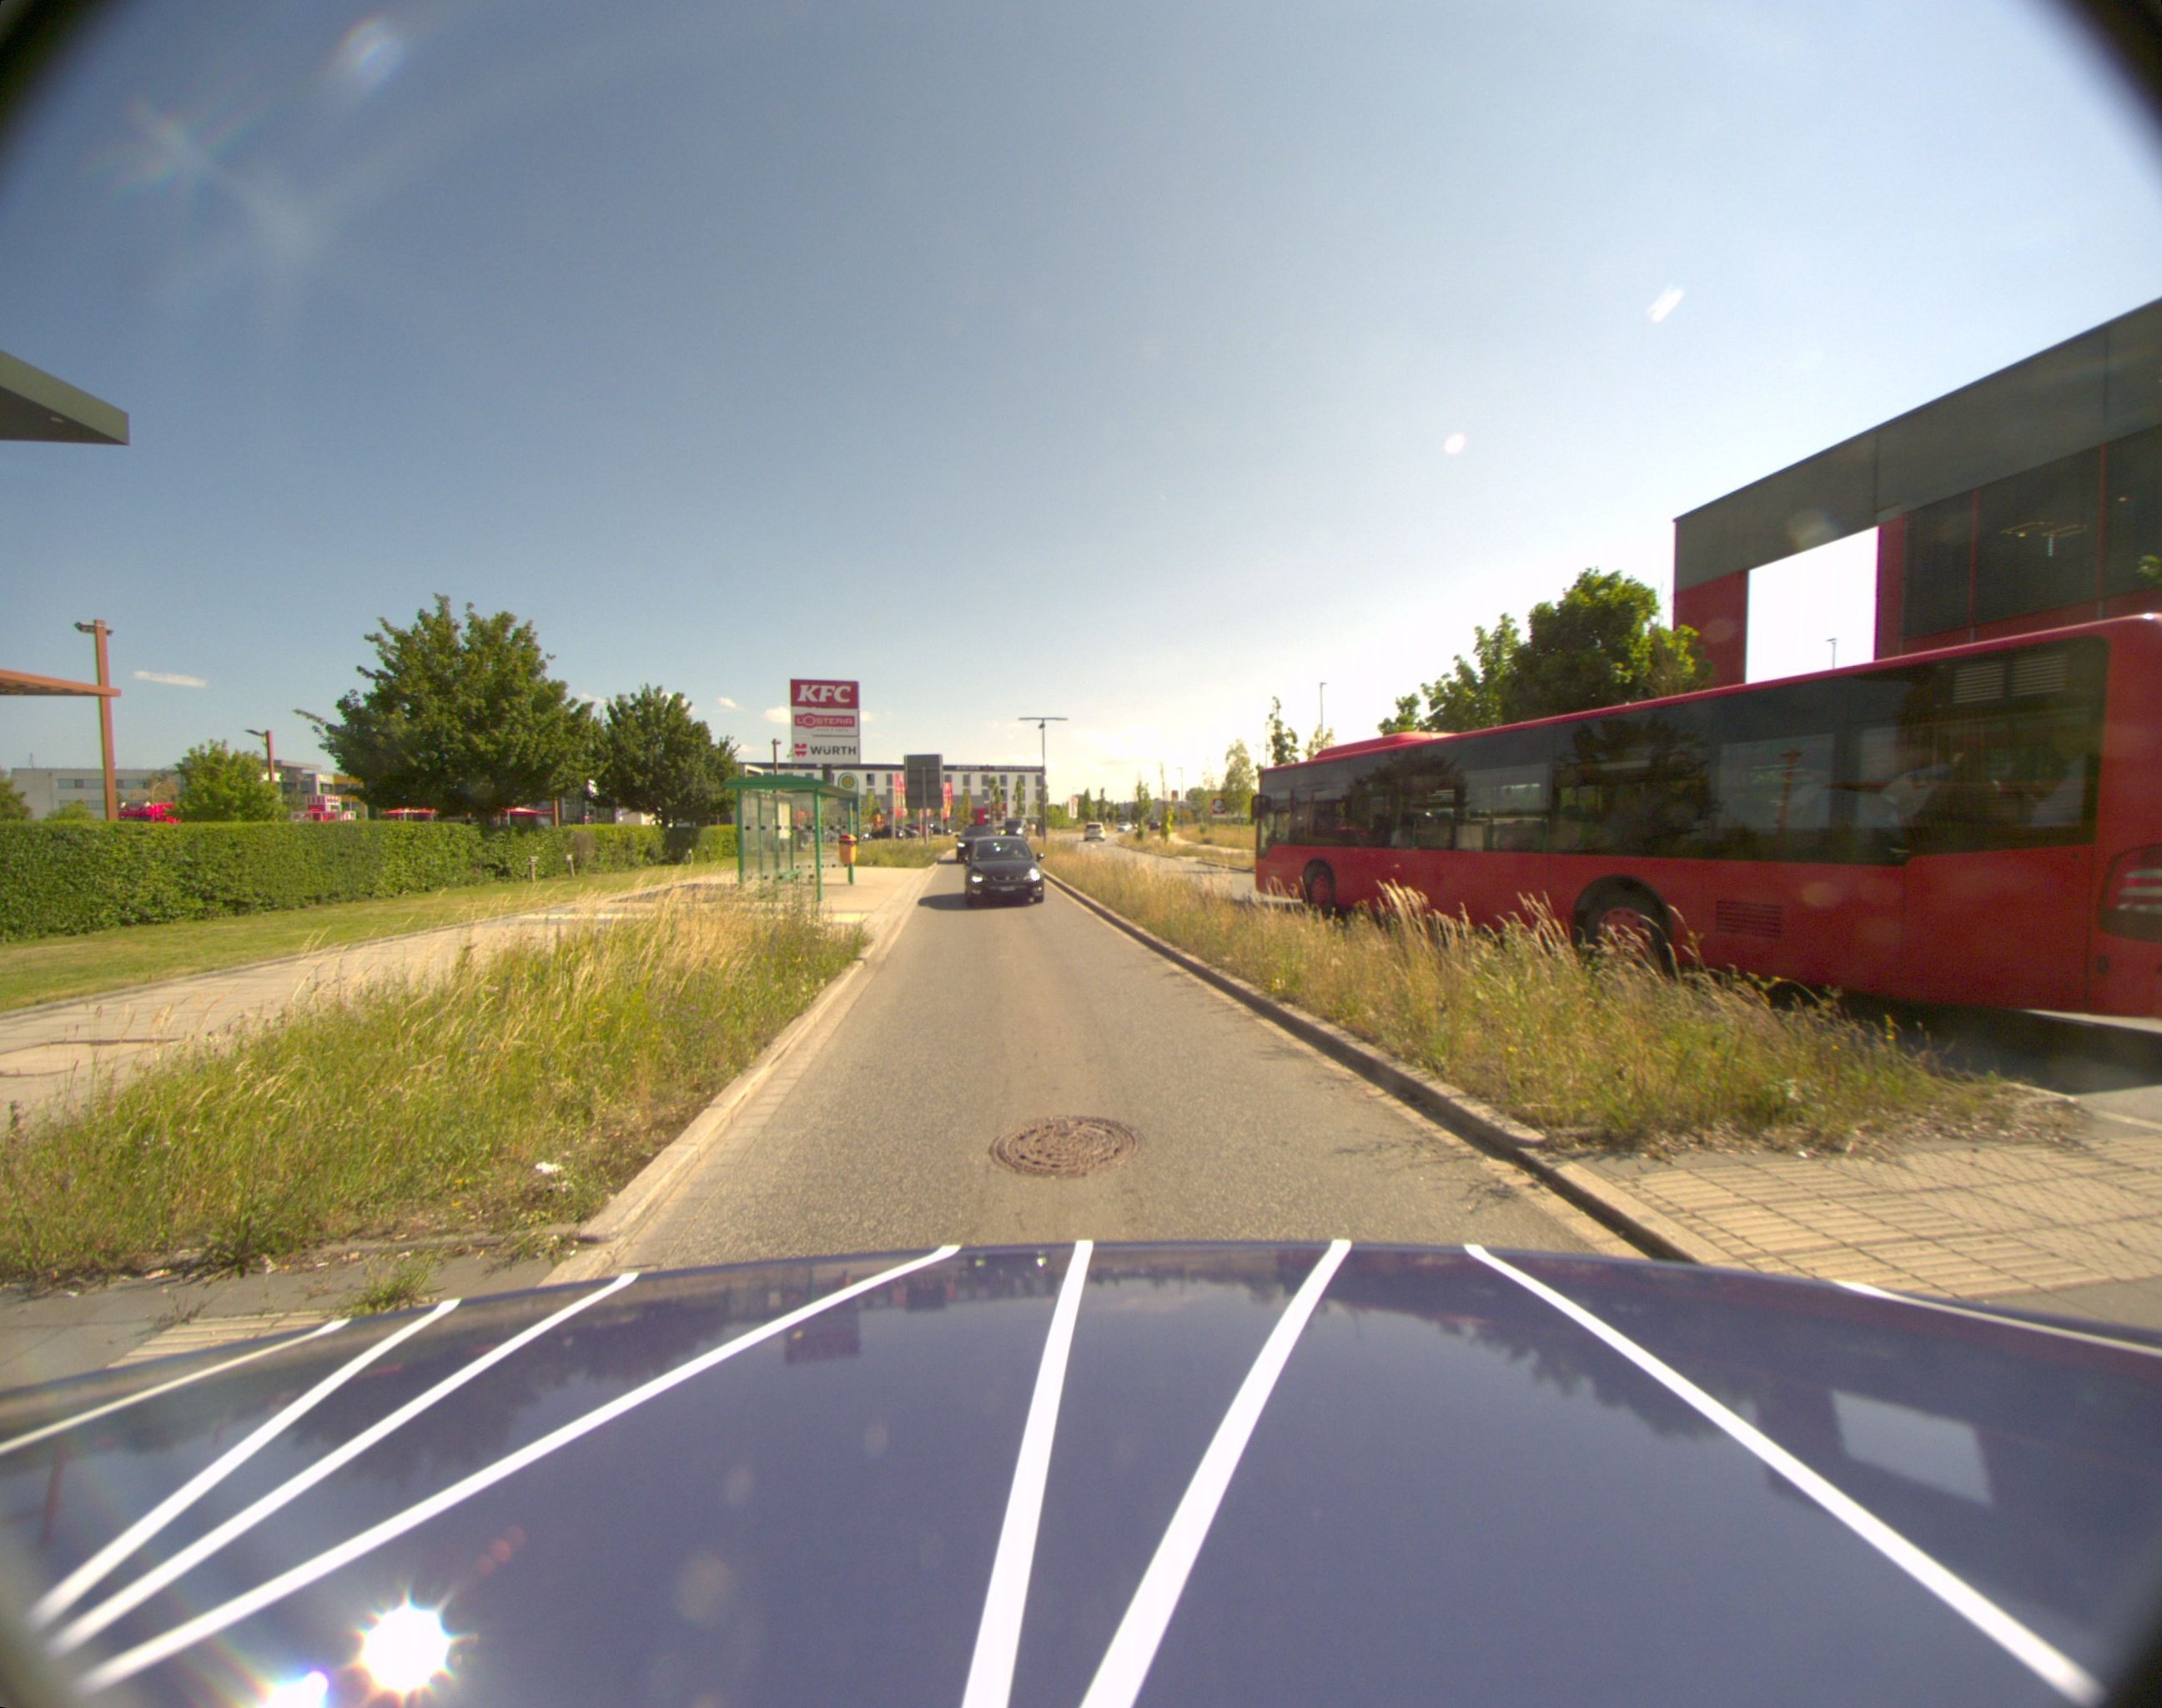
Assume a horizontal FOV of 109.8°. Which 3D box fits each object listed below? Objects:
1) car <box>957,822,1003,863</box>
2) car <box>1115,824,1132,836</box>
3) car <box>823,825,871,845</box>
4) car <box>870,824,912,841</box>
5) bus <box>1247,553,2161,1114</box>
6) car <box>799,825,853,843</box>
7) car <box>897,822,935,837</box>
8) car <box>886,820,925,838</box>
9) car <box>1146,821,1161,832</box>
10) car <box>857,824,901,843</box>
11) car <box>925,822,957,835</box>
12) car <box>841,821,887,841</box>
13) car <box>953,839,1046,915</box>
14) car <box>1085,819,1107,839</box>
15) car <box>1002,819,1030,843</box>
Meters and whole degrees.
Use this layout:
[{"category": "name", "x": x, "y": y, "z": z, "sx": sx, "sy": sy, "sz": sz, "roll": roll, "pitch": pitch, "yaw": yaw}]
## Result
[{"category": "car", "x": -4.559, "y": -0.591, "z": 34.784, "sx": 1.862, "sy": 1.679, "sz": 3.996, "roll": -3, "pitch": 3, "yaw": -5}, {"category": "car", "x": 6.153, "y": -3.415, "z": 109.656, "sx": 1.997, "sy": 1.674, "sz": 4.001, "roll": 0, "pitch": 2, "yaw": 8}, {"category": "car", "x": -23.690, "y": -1.963, "z": 77.112, "sx": 4.181, "sy": 2.003, "sz": 1.933, "roll": 0, "pitch": 2, "yaw": 7}, {"category": "car", "x": -21.571, "y": -2.440, "z": 86.338, "sx": 4.180, "sy": 1.847, "sz": 1.804, "roll": 0, "pitch": 2, "yaw": 10}, {"category": "bus", "x": 6.118, "y": -0.153, "z": 10.382, "sx": 2.619, "sy": 3.222, "sz": 11.865, "roll": 0, "pitch": 0, "yaw": -13}, {"category": "car", "x": -24.278, "y": -1.956, "z": 72.392, "sx": 4.440, "sy": 1.644, "sz": 1.932, "roll": -1, "pitch": 2, "yaw": -1}, {"category": "car", "x": -20.462, "y": -3.074, "z": 94.320, "sx": 4.180, "sy": 1.752, "sz": 1.824, "roll": 0, "pitch": 2, "yaw": 10}, {"category": "car", "x": -21.079, "y": -3.016, "z": 91.444, "sx": 4.182, "sy": 2.003, "sz": 1.933, "roll": 0, "pitch": 2, "yaw": 5}, {"category": "car", "x": 11.175, "y": -4.235, "z": 116.593, "sx": 1.998, "sy": 1.609, "sz": 3.999, "roll": -1, "pitch": 2, "yaw": 1}, {"category": "car", "x": -22.277, "y": -2.276, "z": 83.831, "sx": 4.182, "sy": 2.003, "sz": 1.933, "roll": 0, "pitch": 2, "yaw": 6}, {"category": "car", "x": -18.569, "y": -3.391, "z": 101.042, "sx": 3.820, "sy": 1.611, "sz": 1.757, "roll": 0, "pitch": 2, "yaw": 6}, {"category": "car", "x": -22.834, "y": -2.456, "z": 80.195, "sx": 4.182, "sy": 2.003, "sz": 1.933, "roll": 0, "pitch": 2, "yaw": 6}, {"category": "car", "x": -1.856, "y": 0.434, "z": 17.556, "sx": 1.863, "sy": 1.460, "sz": 3.996, "roll": -1, "pitch": 2, "yaw": -5}, {"category": "car", "x": 1.326, "y": -2.225, "z": 67.975, "sx": 1.862, "sy": 1.705, "sz": 4.155, "roll": 0, "pitch": 2, "yaw": 0}, {"category": "car", "x": -5.746, "y": -2.101, "z": 67.696, "sx": 2.079, "sy": 2.037, "sz": 4.681, "roll": 0, "pitch": 2, "yaw": 1}]
